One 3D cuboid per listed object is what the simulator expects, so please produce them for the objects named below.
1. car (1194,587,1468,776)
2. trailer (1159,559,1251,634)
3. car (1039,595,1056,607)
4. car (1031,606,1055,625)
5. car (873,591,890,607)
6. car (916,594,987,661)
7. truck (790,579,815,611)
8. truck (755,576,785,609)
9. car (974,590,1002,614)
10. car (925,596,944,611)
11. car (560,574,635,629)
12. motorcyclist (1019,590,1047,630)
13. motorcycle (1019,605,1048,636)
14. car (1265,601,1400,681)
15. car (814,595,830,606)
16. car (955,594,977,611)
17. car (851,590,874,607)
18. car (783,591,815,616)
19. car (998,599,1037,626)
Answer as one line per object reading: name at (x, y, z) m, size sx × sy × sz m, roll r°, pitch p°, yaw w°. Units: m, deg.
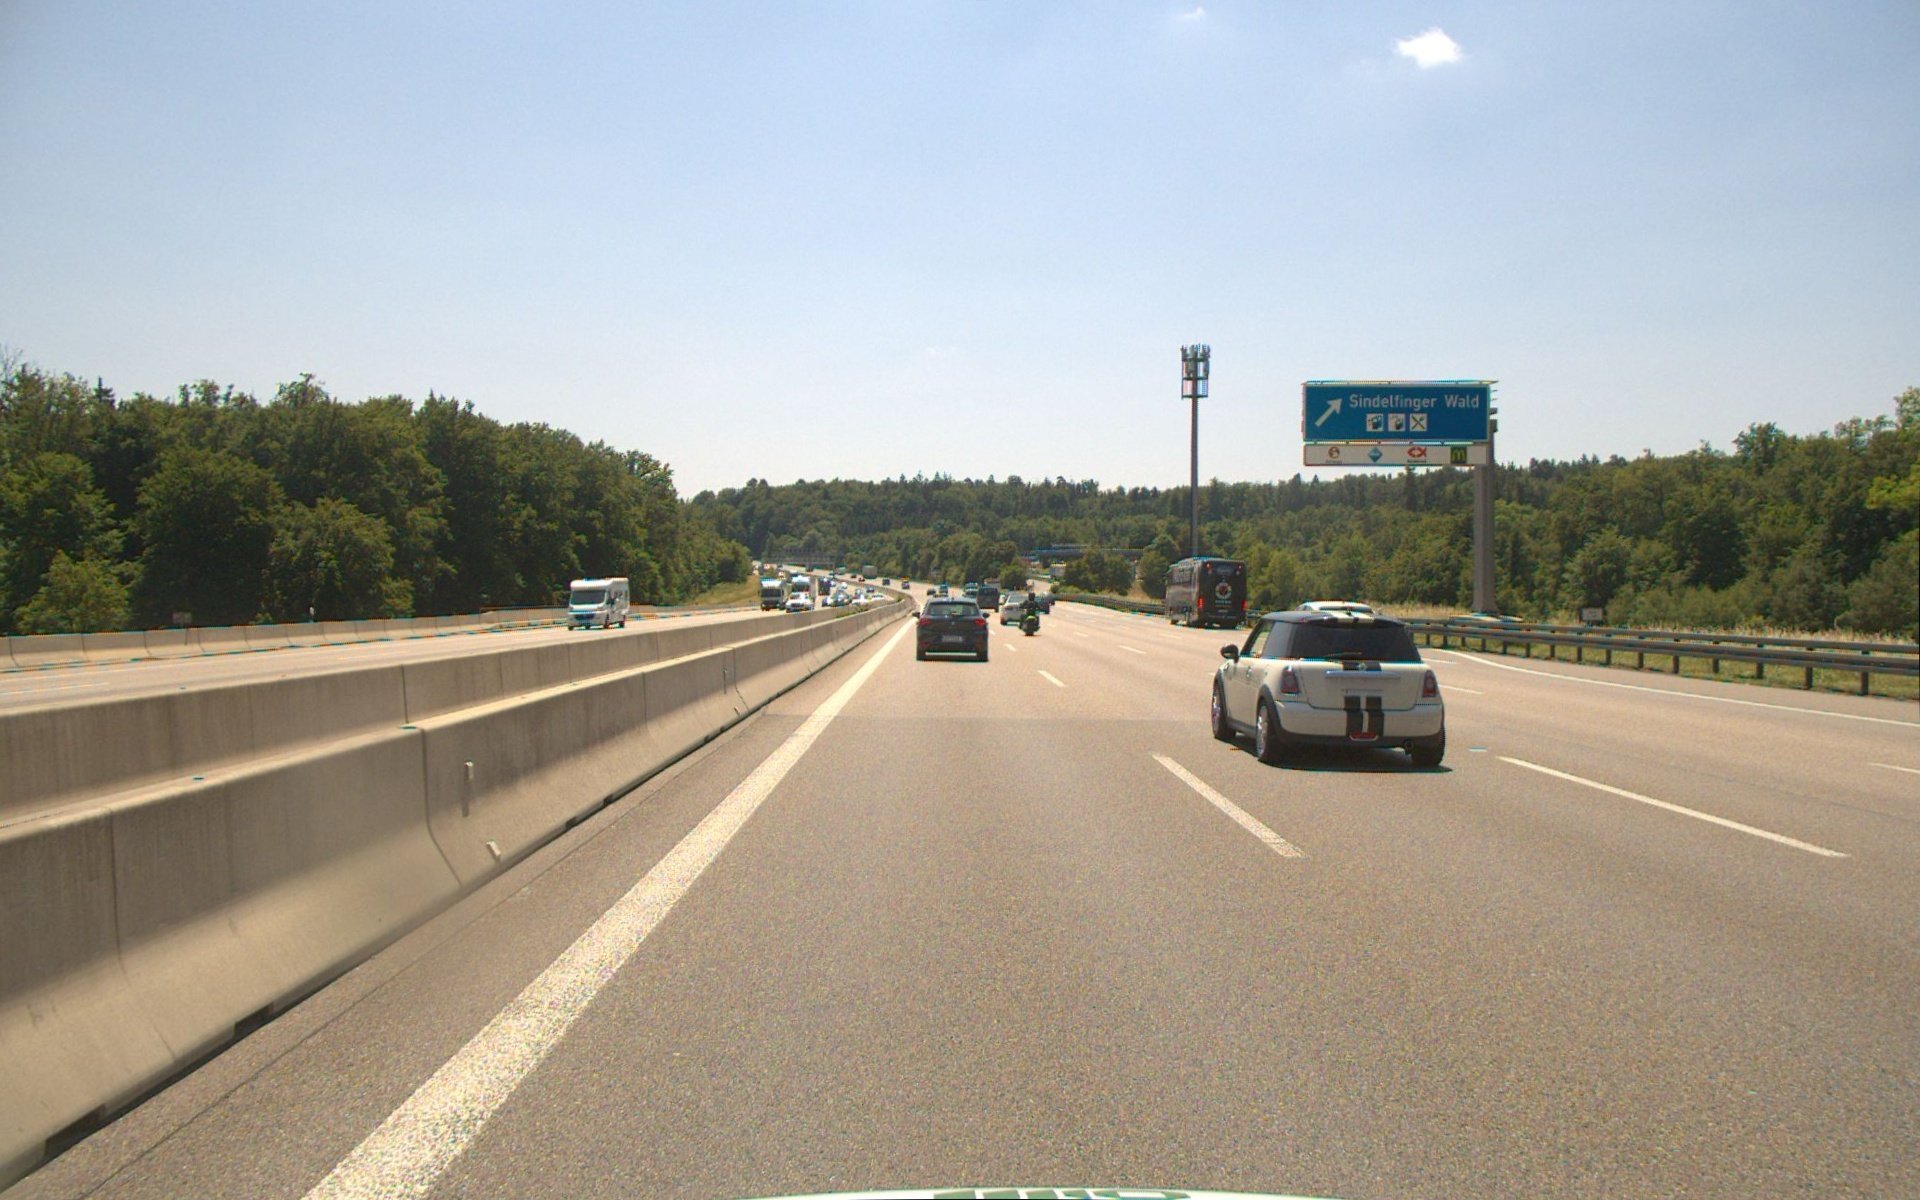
car at (3.562, 0.706, 16.620) m, size 1.804 × 1.579 × 4.000 m, roll 2°, pitch 1°, yaw 0°
trailer at (13.240, -0.151, 90.512) m, size 2.799 × 3.752 × 13.539 m, roll -1°, pitch 0°, yaw -1°
car at (9.373, 0.080, 177.476) m, size 1.576 × 1.233 × 3.458 m, roll -1°, pitch 0°, yaw -2°
car at (6.478, 1.190, 129.259) m, size 1.641 × 1.457 × 3.684 m, roll 0°, pitch 0°, yaw -1°
car at (-10.012, -0.169, 211.503) m, size 1.737 × 1.912 × 5.211 m, roll 1°, pitch 1°, yaw 1°
car at (-0.209, 0.639, 39.359) m, size 1.591 × 1.513 × 3.684 m, roll 1°, pitch 0°, yaw -1°
truck at (-21.523, -0.653, 225.699) m, size 2.660 × 4.171 × 7.875 m, roll -2°, pitch 0°, yaw -1°
truck at (-21.247, -0.804, 185.247) m, size 2.488 × 3.633 × 8.574 m, roll 0°, pitch 0°, yaw -2°
car at (2.247, 0.129, 134.566) m, size 2.055 × 1.884 × 4.080 m, roll 0°, pitch 0°, yaw -2°
car at (-2.233, 0.288, 144.304) m, size 1.506 × 1.233 × 3.457 m, roll -1°, pitch 0°, yaw -4°
car at (-19.031, 0.043, 87.301) m, size 2.176 × 2.705 × 8.174 m, roll -2°, pitch 0°, yaw -1°
motorcyclist at (2.749, 0.368, 62.323) m, size 0.943 × 1.462 × 1.234 m, roll -1°, pitch 1°, yaw -2°
motorcycle at (2.759, 0.767, 62.472) m, size 0.957 × 1.149 × 2.270 m, roll 0°, pitch 0°, yaw -1°
car at (7.434, 0.773, 33.363) m, size 1.632 × 1.458 × 4.374 m, roll 0°, pitch 0°, yaw -2°
car at (-18.319, 0.124, 219.793) m, size 1.761 × 1.400 × 4.530 m, roll -2°, pitch 0°, yaw -1°
car at (0.615, 0.254, 180.408) m, size 1.955 × 1.713 × 4.419 m, roll 1°, pitch 1°, yaw -5°
car at (-8.906, -0.154, 151.663) m, size 1.811 × 1.550 × 5.317 m, roll -2°, pitch 0°, yaw -1°
car at (-12.290, 0.232, 126.480) m, size 1.953 × 1.819 × 5.317 m, roll -2°, pitch 0°, yaw -1°
car at (2.811, 0.608, 81.838) m, size 1.746 × 1.287 × 3.459 m, roll 0°, pitch 0°, yaw -1°
